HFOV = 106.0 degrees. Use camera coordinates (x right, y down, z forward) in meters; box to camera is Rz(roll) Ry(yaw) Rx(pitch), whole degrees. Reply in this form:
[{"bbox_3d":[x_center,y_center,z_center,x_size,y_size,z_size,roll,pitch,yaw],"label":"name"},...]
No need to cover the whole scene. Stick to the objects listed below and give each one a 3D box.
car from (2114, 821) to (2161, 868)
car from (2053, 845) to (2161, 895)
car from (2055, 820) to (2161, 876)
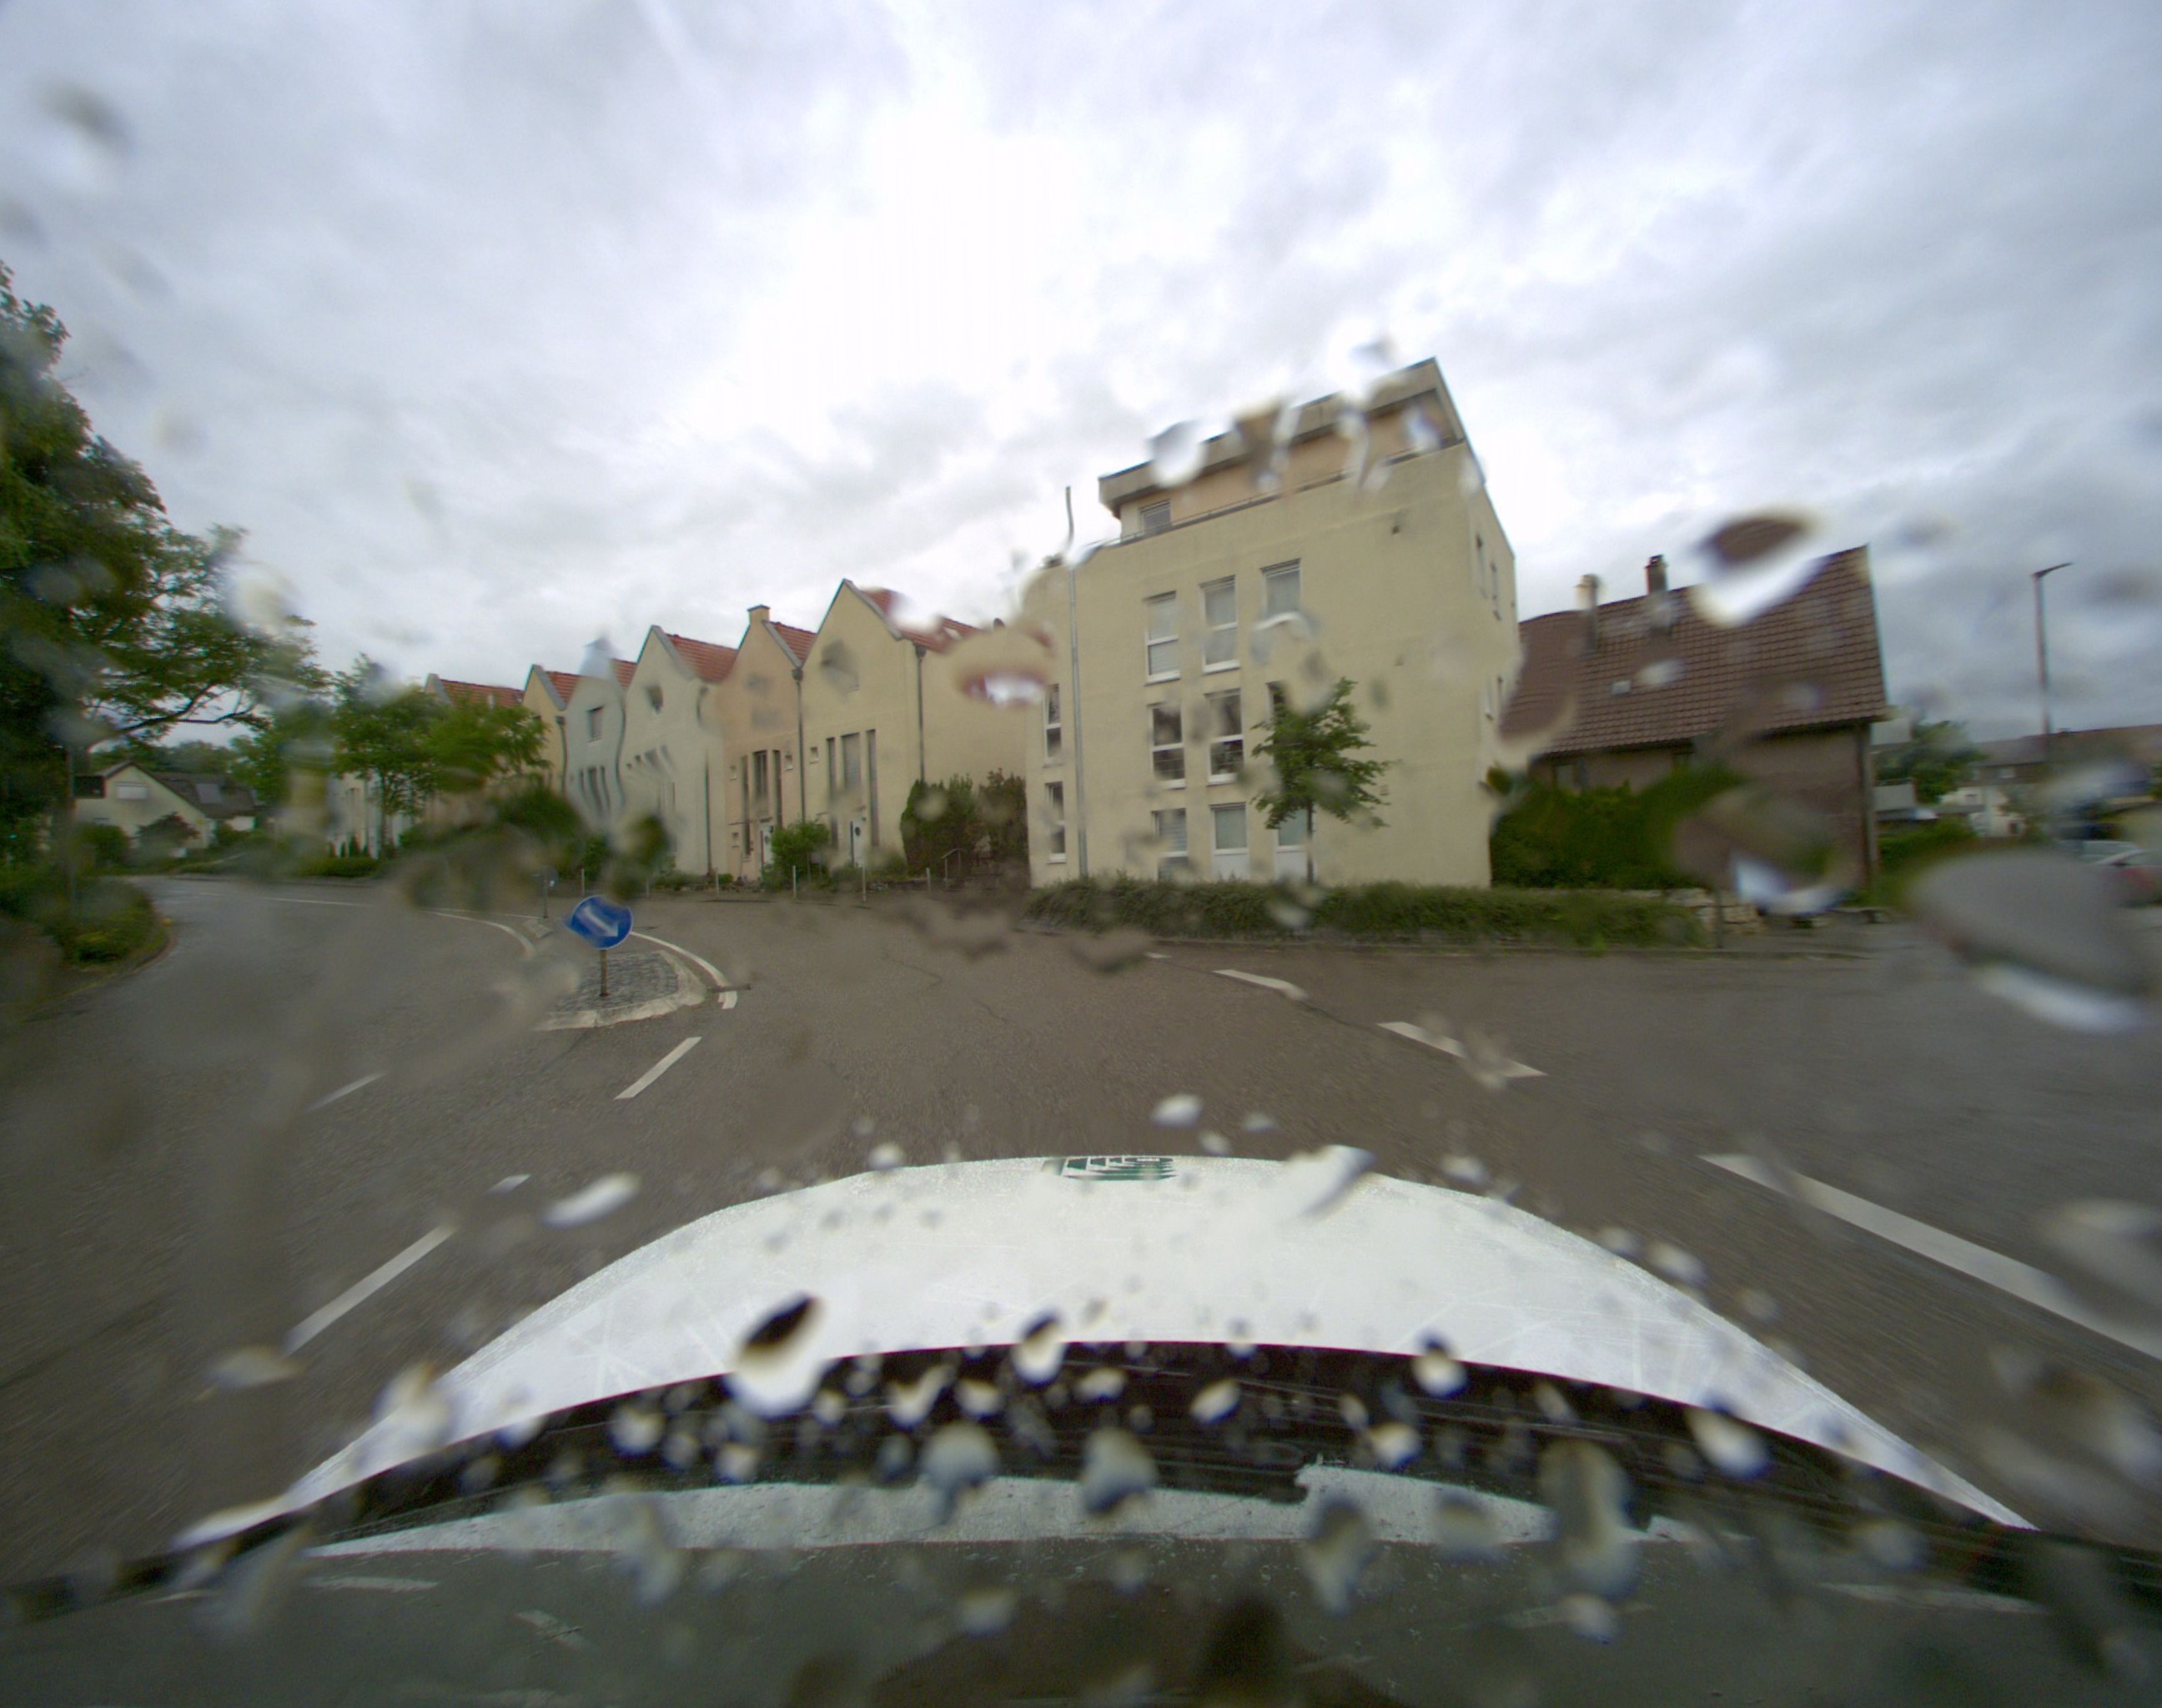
[{"bbox_3d":[40.482,-0.373,29.214,3.950,1.697,2.012,-1,0,44],"label":"car"},{"bbox_3d":[32.748,0.462,24.711,3.950,1.456,1.958,0,1,43],"label":"car"},{"bbox_3d":[36.897,-0.204,28.169,1.850,1.881,3.951,-1,1,-44],"label":"car"}]
